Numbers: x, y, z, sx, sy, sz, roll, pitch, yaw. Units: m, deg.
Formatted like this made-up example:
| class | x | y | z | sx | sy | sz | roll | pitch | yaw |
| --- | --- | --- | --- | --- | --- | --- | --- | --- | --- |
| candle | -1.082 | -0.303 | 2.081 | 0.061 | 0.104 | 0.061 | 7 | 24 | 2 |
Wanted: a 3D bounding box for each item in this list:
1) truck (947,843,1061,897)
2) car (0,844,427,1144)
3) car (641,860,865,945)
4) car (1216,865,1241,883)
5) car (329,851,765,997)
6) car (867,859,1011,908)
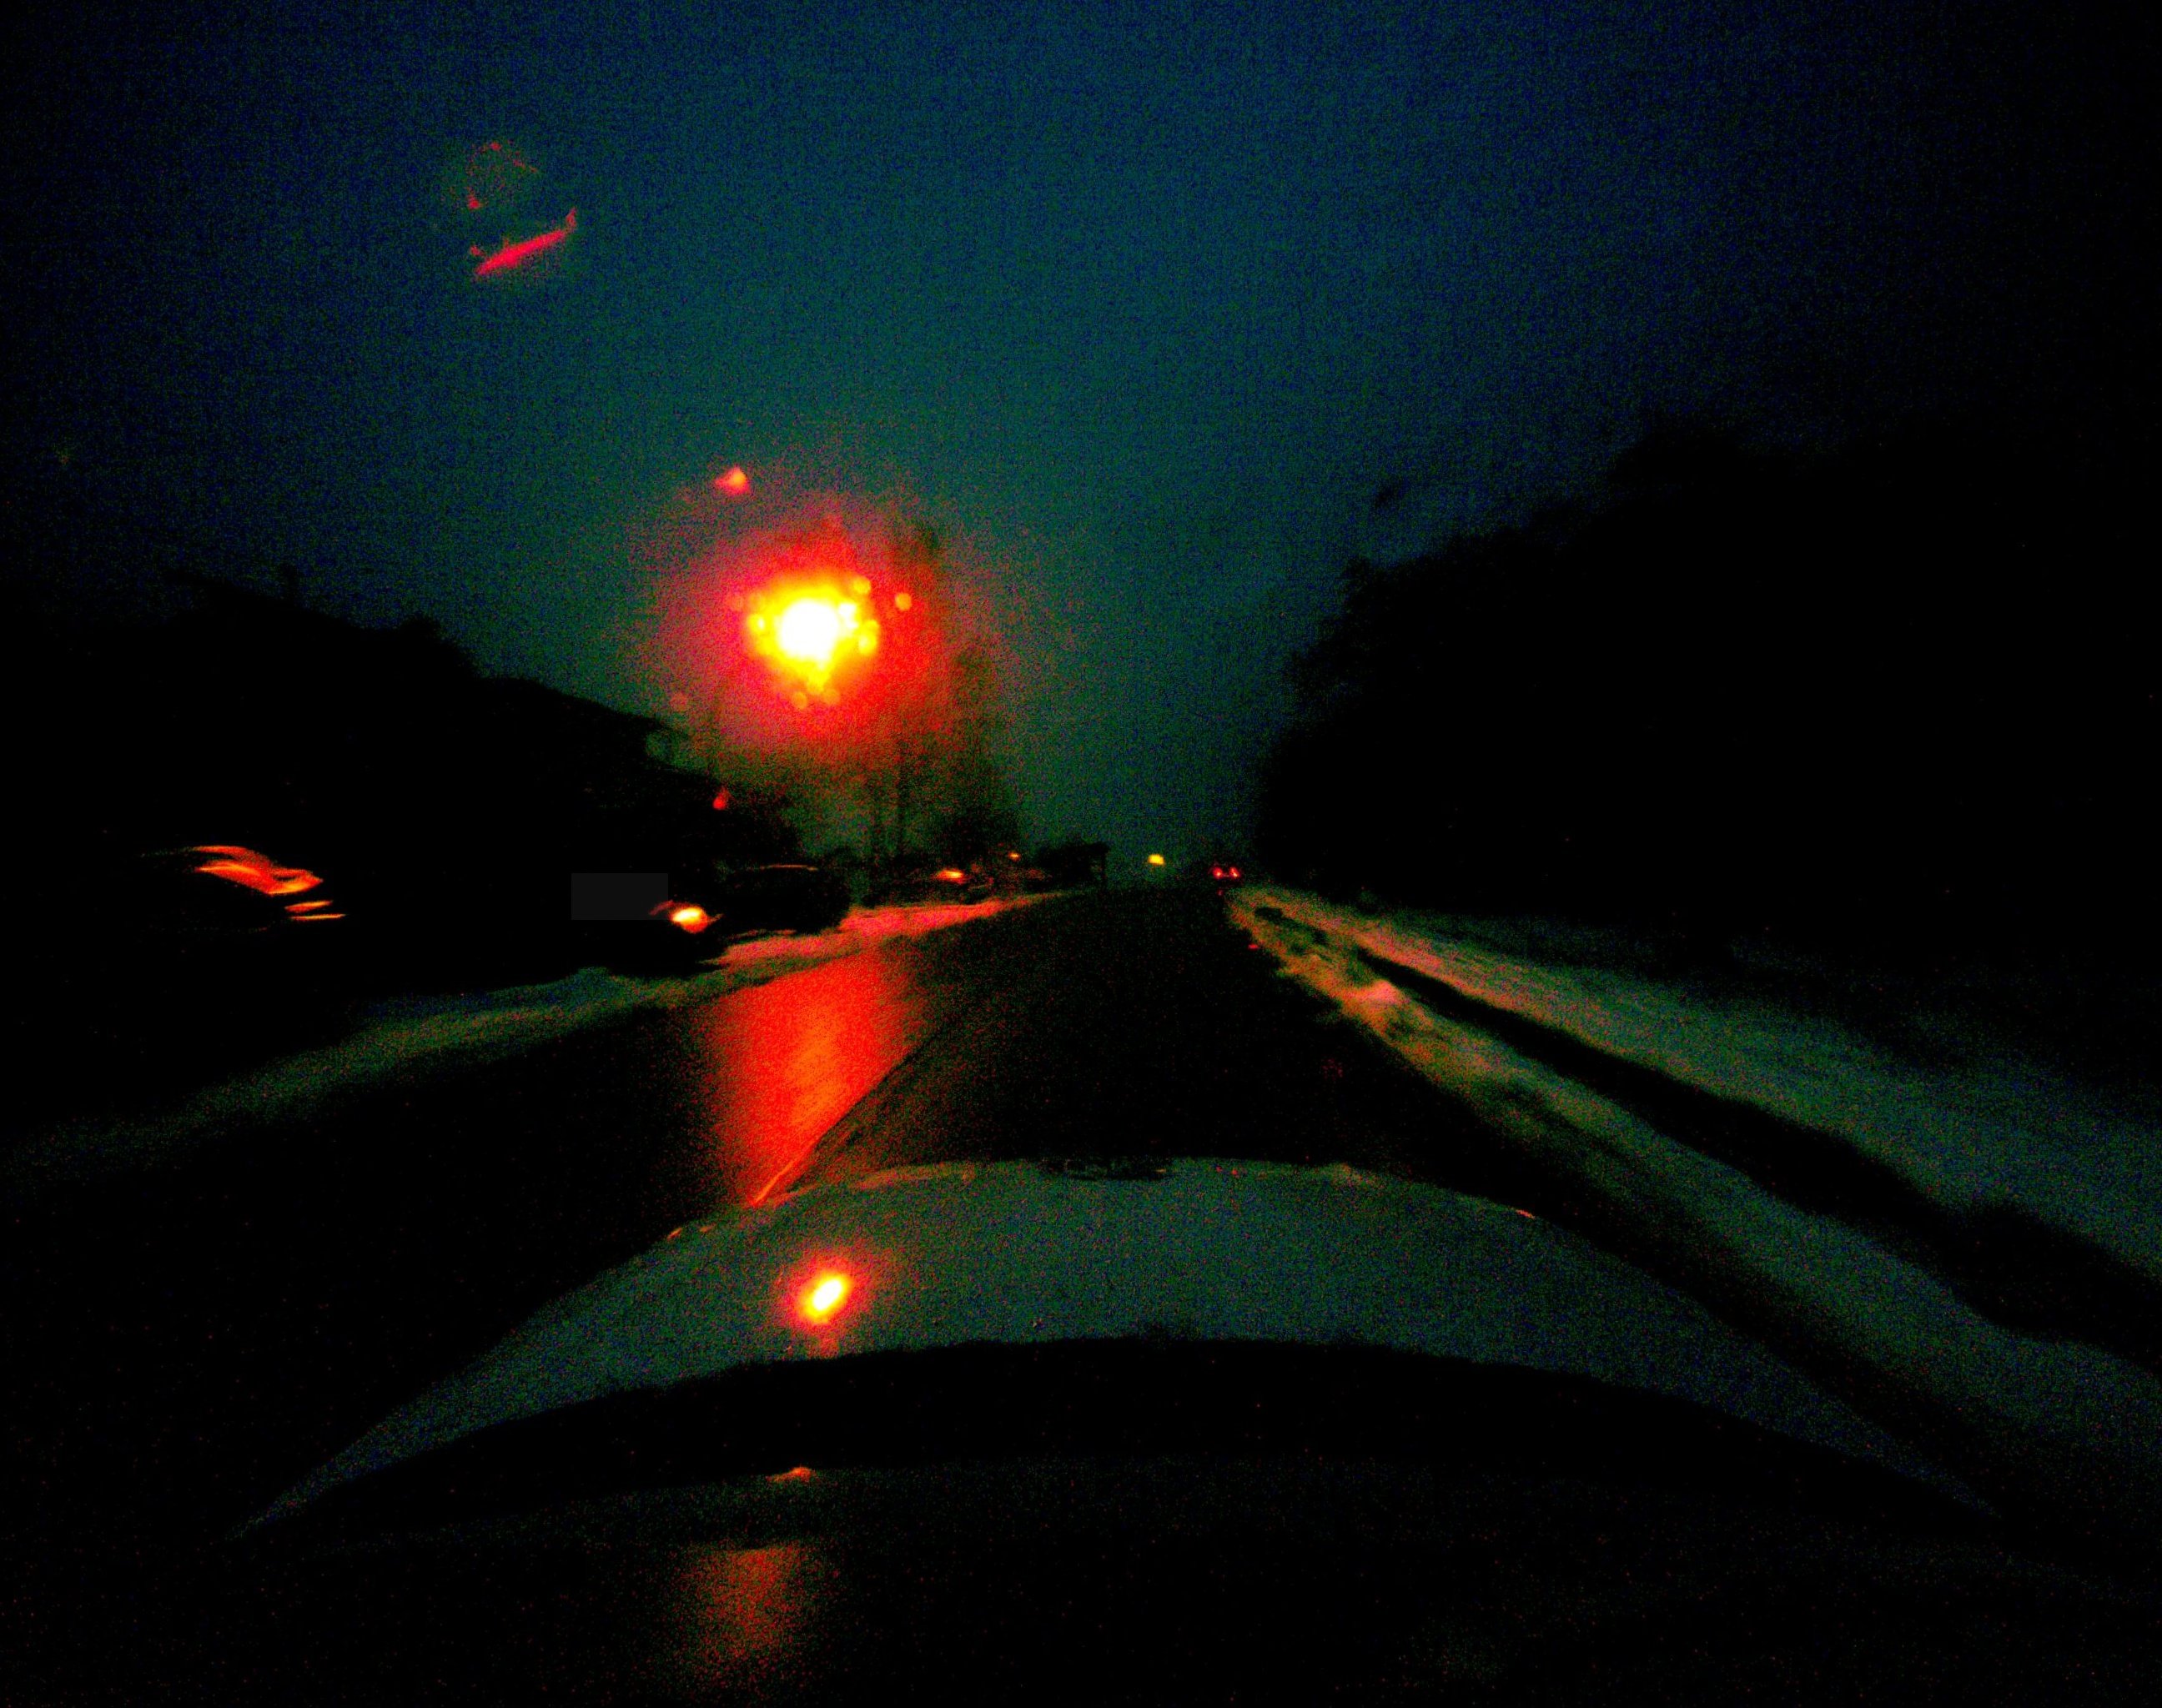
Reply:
| class | x | y | z | sx | sy | sz | roll | pitch | yaw |
| --- | --- | --- | --- | --- | --- | --- | --- | --- | --- |
| truck | -3.739 | 0.767 | 40.170 | 5.240 | 2.303 | 2.001 | -3 | -1 | 2 |
| car | -7.019 | 0.839 | 5.552 | 1.997 | 1.566 | 4.973 | -4 | -1 | -14 |
| car | -6.777 | 0.968 | 17.148 | 3.842 | 1.471 | 1.938 | -3 | -1 | -1 |
| car | 12.217 | 1.654 | 67.594 | 1.981 | 1.420 | 4.010 | -1 | -2 | 9 |
| car | -7.098 | 0.881 | 11.326 | 4.520 | 1.566 | 2.107 | -3 | -1 | -5 |
| car | -5.232 | 1.083 | 30.436 | 4.866 | 1.485 | 2.125 | -3 | -1 | 3 |
